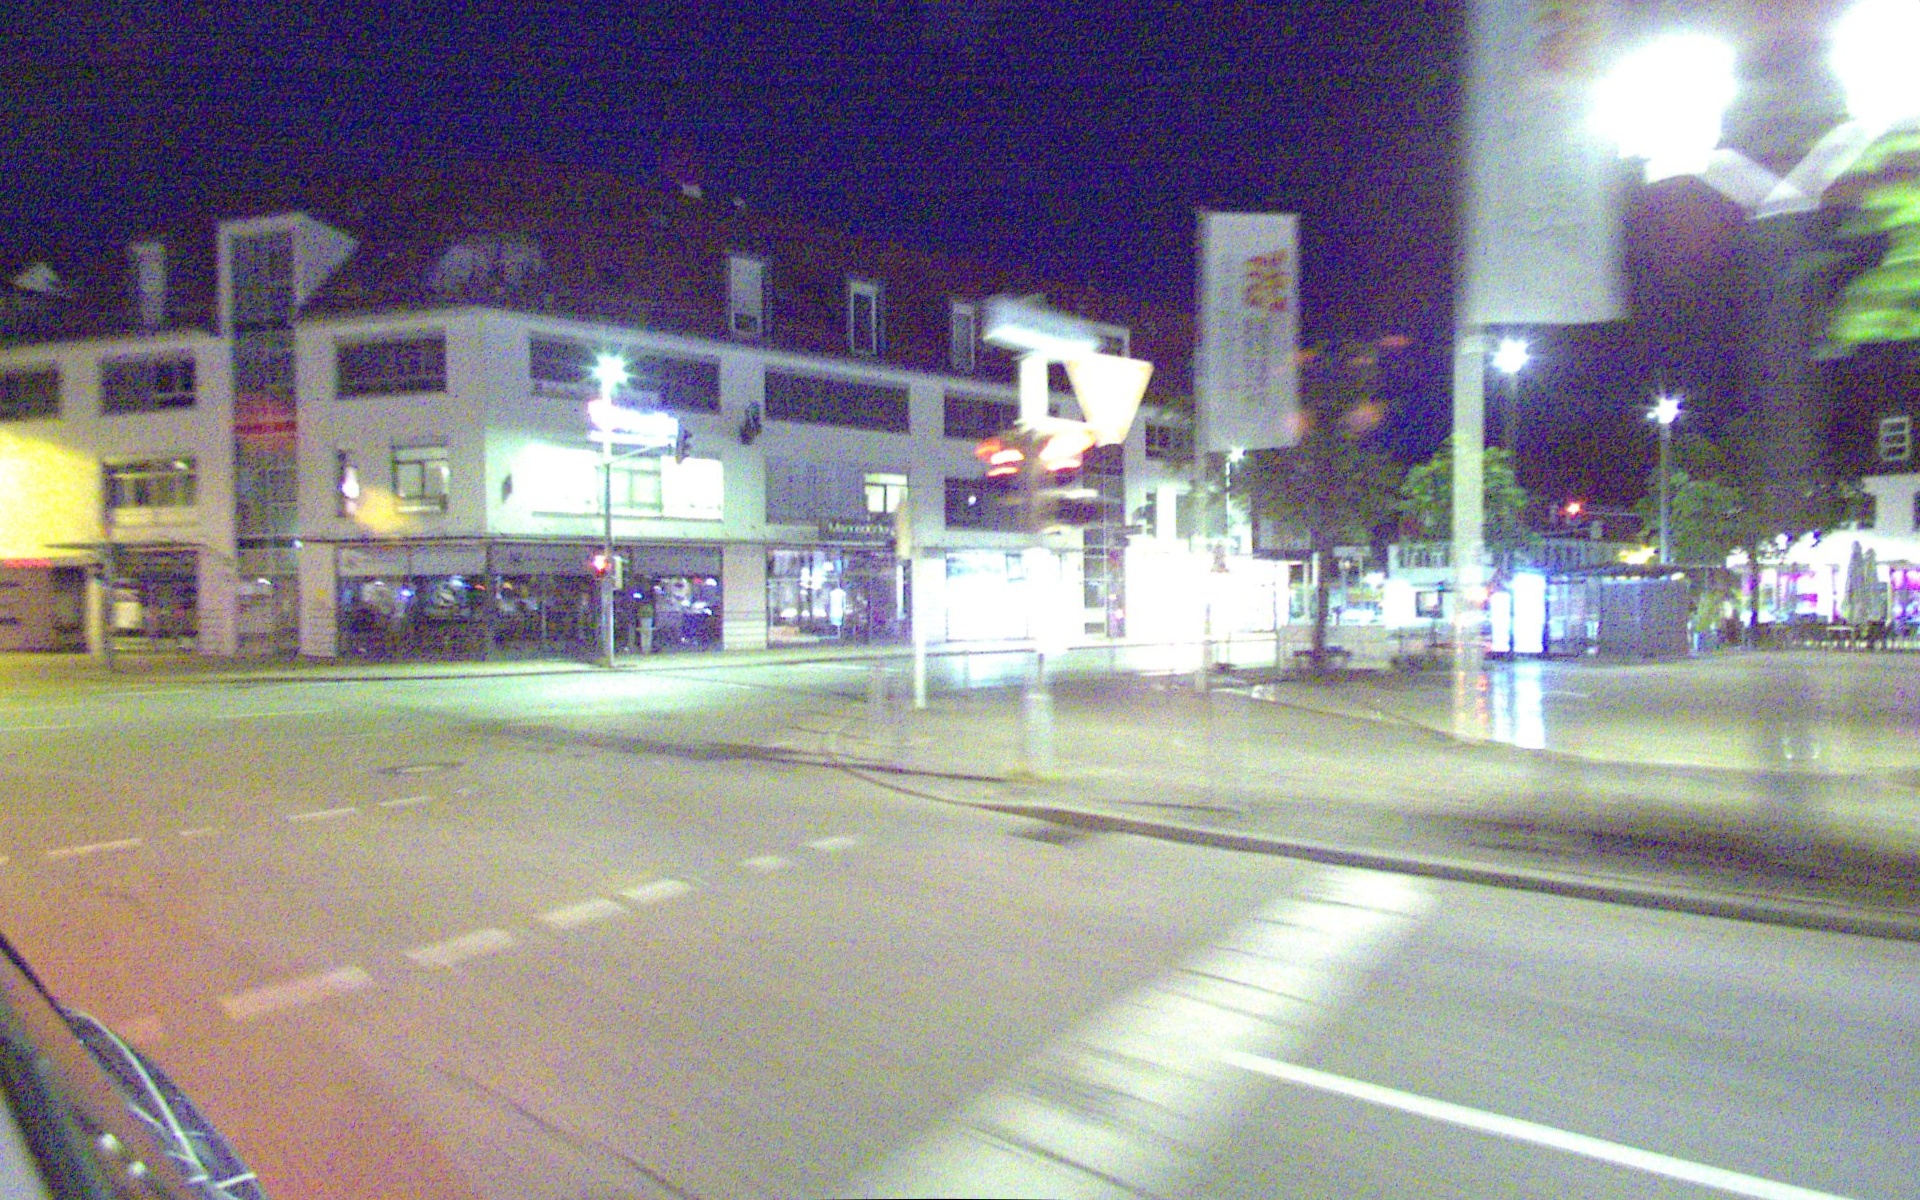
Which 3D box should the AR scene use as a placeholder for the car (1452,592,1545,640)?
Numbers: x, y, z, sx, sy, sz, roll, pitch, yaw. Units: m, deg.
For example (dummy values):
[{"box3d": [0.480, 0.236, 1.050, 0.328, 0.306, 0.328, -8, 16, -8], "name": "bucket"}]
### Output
[{"box3d": [22.988, 0.681, 43.114, 4.348, 1.952, 1.964, 0, -2, -40], "name": "car"}]
